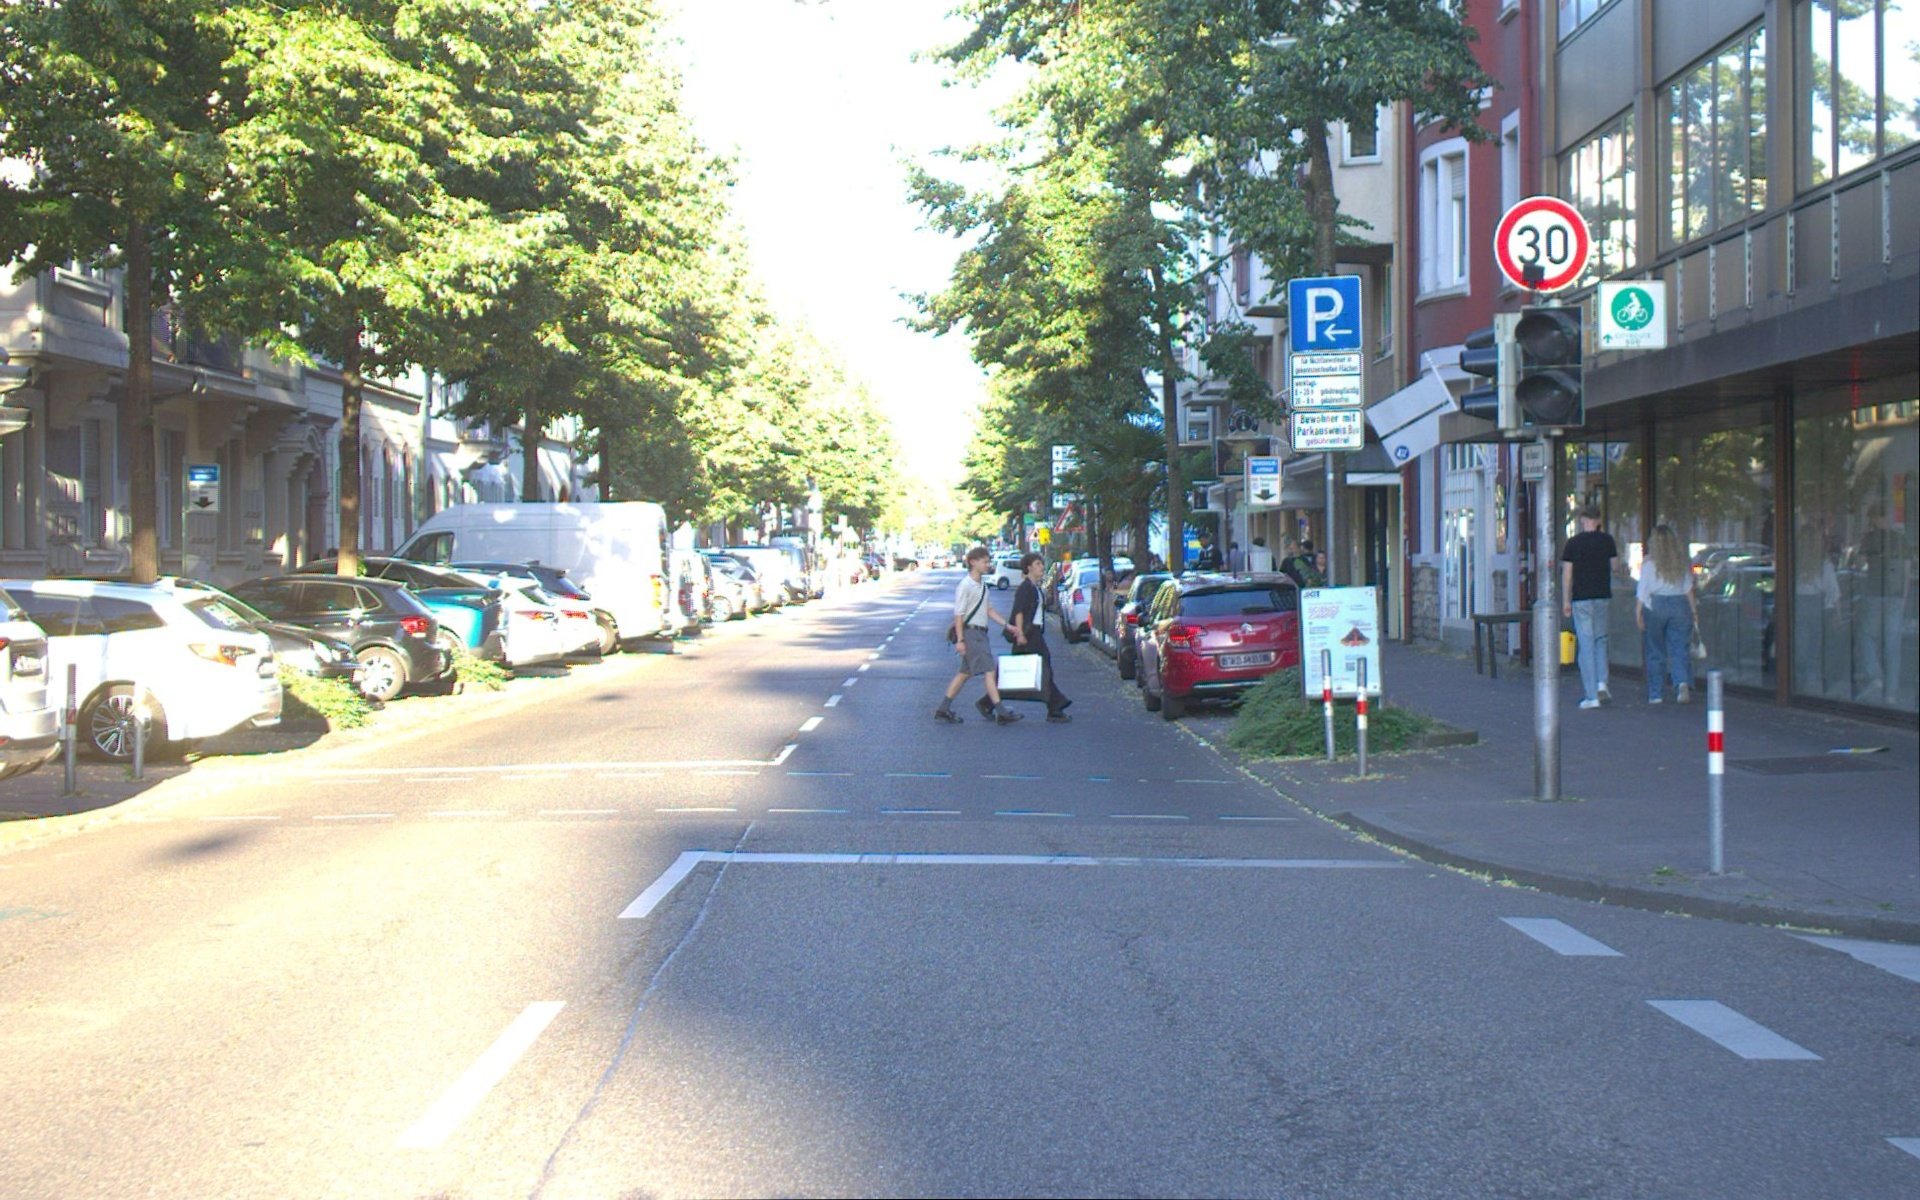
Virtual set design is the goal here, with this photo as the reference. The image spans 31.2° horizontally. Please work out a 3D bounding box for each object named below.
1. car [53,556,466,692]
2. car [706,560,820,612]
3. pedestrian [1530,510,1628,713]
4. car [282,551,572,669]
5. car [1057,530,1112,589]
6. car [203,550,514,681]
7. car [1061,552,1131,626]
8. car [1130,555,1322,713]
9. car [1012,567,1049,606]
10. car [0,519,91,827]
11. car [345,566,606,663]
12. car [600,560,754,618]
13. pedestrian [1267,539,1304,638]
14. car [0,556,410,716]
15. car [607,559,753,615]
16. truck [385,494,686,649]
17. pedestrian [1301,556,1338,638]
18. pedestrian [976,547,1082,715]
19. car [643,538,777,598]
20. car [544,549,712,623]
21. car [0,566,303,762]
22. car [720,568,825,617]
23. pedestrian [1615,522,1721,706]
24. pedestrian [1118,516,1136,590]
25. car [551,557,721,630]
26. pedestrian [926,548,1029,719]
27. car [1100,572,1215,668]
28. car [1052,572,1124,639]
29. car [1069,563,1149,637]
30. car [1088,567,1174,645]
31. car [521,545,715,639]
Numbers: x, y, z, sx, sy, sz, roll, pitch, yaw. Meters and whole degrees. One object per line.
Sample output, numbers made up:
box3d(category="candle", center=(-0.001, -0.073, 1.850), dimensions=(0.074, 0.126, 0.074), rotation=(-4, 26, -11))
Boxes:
box3d(category="car", center=(-8.141, 0.266, 40.250), dimensions=(4.426, 1.498, 2.000), rotation=(1, 0, 0))
box3d(category="car", center=(-6.666, -0.477, 116.510), dimensions=(3.739, 1.702, 2.000), rotation=(1, 1, 0))
box3d(category="pedestrian", center=(5.797, 0.104, 32.213), dimensions=(0.714, 1.859, 0.680), rotation=(-2, 1, -2))
box3d(category="car", center=(-7.379, 0.157, 47.868), dimensions=(3.739, 1.590, 2.000), rotation=(0, -2, 0))
box3d(category="car", center=(3.427, -1.103, 94.880), dimensions=(1.308, 1.594, 2.661), rotation=(0, 0, -3))
box3d(category="car", center=(-7.884, 0.184, 45.284), dimensions=(3.739, 1.636, 2.000), rotation=(1, 1, 0))
box3d(category="car", center=(2.987, -0.231, 75.842), dimensions=(1.308, 1.594, 2.661), rotation=(0, 0, -3))
box3d(category="car", center=(2.774, 0.349, 36.496), dimensions=(1.576, 1.537, 3.397), rotation=(-2, 0, -3))
box3d(category="car", center=(2.884, -0.554, 141.192), dimensions=(1.308, 1.594, 2.661), rotation=(0, 0, -3))
box3d(category="car", center=(-7.257, 0.364, 19.891), dimensions=(3.989, 1.702, 1.833), rotation=(1, 1, 0))
box3d(category="car", center=(-7.435, 0.212, 53.009), dimensions=(3.739, 1.445, 2.000), rotation=(0, 1, 0))
box3d(category="car", center=(-7.179, -0.287, 87.494), dimensions=(3.739, 1.445, 2.000), rotation=(0, 1, 0))
box3d(category="pedestrian", center=(5.362, -0.198, 56.629), dimensions=(0.534, 1.616, 0.534), rotation=(1, 1, 1))
box3d(category="car", center=(-8.041, 0.351, 35.451), dimensions=(4.426, 1.594, 2.000), rotation=(0, 1, 0))
box3d(category="car", center=(-7.499, -0.362, 92.342), dimensions=(3.739, 1.487, 2.000), rotation=(0, 1, 0))
box3d(category="truck", center=(-7.284, -0.489, 59.381), dimensions=(4.941, 2.606, 2.000), rotation=(0, 0, 0))
box3d(category="pedestrian", center=(5.973, -0.054, 57.152), dimensions=(0.534, 1.356, 0.534), rotation=(1, 1, 1))
box3d(category="pedestrian", center=(0.705, 0.314, 34.984), dimensions=(0.721, 1.677, 0.757), rotation=(1, 1, -40))
box3d(category="car", center=(-7.251, -0.934, 100.039), dimensions=(3.739, 1.702, 2.000), rotation=(1, 1, 0))
box3d(category="car", center=(-7.735, -0.334, 80.423), dimensions=(3.739, 1.702, 2.000), rotation=(0, 1, 0))
box3d(category="car", center=(-7.625, 0.478, 27.943), dimensions=(4.175, 1.502, 2.000), rotation=(1, 0, 0))
box3d(category="car", center=(-6.850, -0.285, 125.989), dimensions=(3.739, 1.702, 2.000), rotation=(1, 1, 0))
box3d(category="pedestrian", center=(6.643, 0.127, 32.284), dimensions=(0.765, 1.683, 0.786), rotation=(-2, 1, -2))
box3d(category="pedestrian", center=(4.542, -1.275, 93.607), dimensions=(0.449, 2.007, 0.424), rotation=(1, 1, -1))
box3d(category="car", center=(-7.114, -0.141, 75.694), dimensions=(3.586, 1.589, 1.701), rotation=(0, 0, 0))
box3d(category="pedestrian", center=(0.171, 0.323, 34.092), dimensions=(0.714, 1.667, 0.710), rotation=(0, 1, -40))
box3d(category="car", center=(2.764, 0.277, 48.509), dimensions=(1.304, 1.288, 3.014), rotation=(-1, 0, -3))
box3d(category="car", center=(2.544, 0.113, 68.606), dimensions=(1.206, 1.296, 2.661), rotation=(0, 0, -3))
box3d(category="car", center=(2.658, 0.006, 61.648), dimensions=(1.206, 1.296, 2.661), rotation=(0, 0, -3))
box3d(category="car", center=(2.884, 0.099, 58.359), dimensions=(1.206, 1.296, 2.661), rotation=(0, 0, -3))
box3d(category="car", center=(-6.907, -0.169, 69.676), dimensions=(3.739, 1.852, 2.000), rotation=(0, 1, 0))
